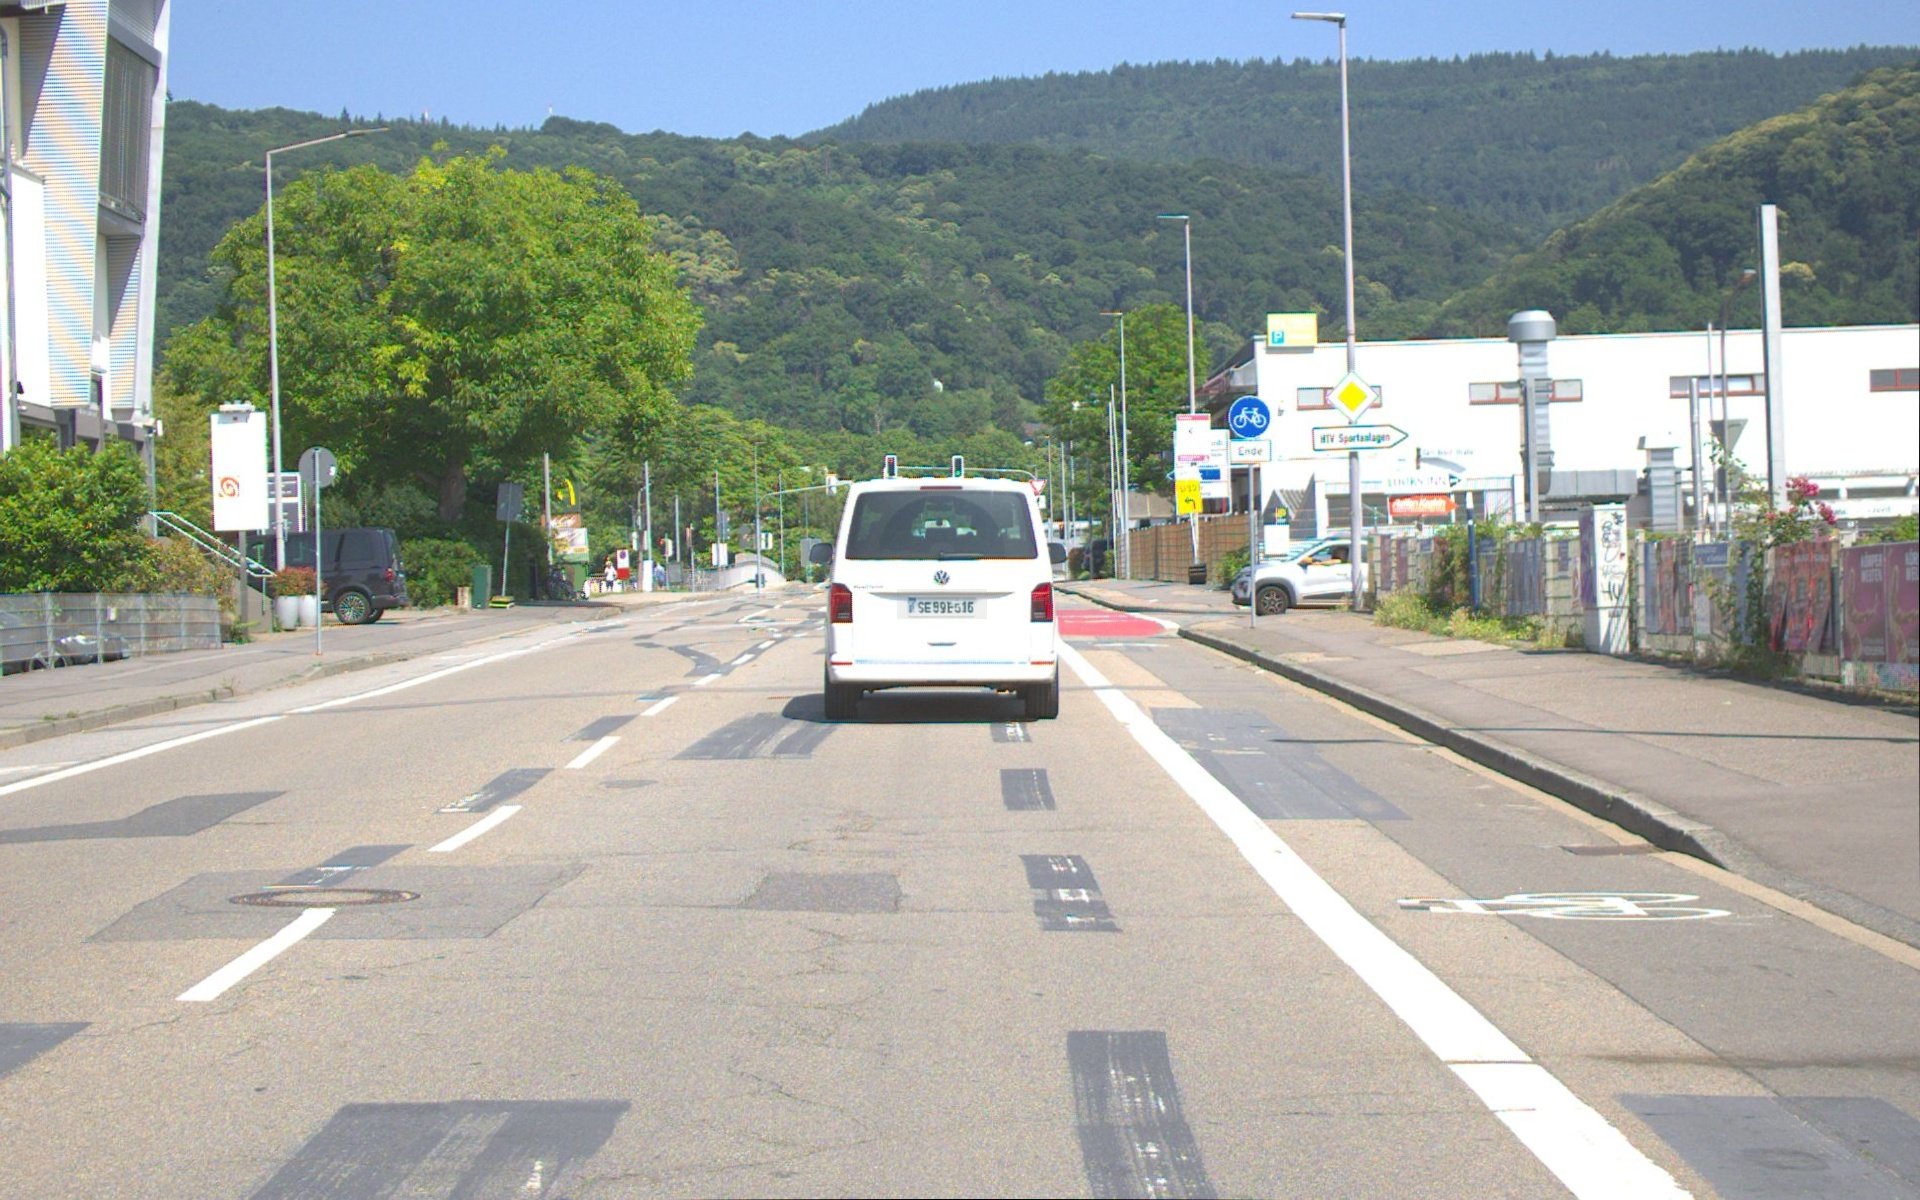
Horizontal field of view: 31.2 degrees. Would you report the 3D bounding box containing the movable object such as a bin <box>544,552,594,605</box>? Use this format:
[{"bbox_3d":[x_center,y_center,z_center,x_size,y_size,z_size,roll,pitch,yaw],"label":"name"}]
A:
[{"bbox_3d":[-12.255,-0.680,107.824,1.448,1.585,1.307,-2,1,-9],"label":"movable object such as a bin"}]

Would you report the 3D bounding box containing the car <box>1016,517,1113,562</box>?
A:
[{"bbox_3d":[4.540,-2.594,148.648,3.988,1.769,2.000,-2,1,6],"label":"car"}]

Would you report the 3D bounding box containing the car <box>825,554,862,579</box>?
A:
[{"bbox_3d":[-6.616,-1.899,194.822,1.993,1.365,4.327,-2,1,-1],"label":"car"}]

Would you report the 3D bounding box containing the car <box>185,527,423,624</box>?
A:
[{"bbox_3d":[-13.367,-0.511,70.287,4.565,1.859,2.093,-1,1,-5],"label":"car"}]

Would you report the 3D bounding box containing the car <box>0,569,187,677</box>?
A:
[{"bbox_3d":[-13.965,0.366,50.528,4.739,1.476,2.048,-2,1,-1],"label":"car"}]

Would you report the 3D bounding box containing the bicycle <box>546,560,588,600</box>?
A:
[{"bbox_3d":[-11.234,-0.568,98.354,1.026,1.114,2.766,1,1,-3],"label":"bicycle"}]

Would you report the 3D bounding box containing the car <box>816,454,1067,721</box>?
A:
[{"bbox_3d":[-0.218,-0.123,29.132,1.934,2.052,4.545,1,1,-2],"label":"car"}]

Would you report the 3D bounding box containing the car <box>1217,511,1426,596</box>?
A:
[{"bbox_3d":[6.580,-0.852,62.763,3.665,1.479,1.728,-1,1,2],"label":"car"}]
